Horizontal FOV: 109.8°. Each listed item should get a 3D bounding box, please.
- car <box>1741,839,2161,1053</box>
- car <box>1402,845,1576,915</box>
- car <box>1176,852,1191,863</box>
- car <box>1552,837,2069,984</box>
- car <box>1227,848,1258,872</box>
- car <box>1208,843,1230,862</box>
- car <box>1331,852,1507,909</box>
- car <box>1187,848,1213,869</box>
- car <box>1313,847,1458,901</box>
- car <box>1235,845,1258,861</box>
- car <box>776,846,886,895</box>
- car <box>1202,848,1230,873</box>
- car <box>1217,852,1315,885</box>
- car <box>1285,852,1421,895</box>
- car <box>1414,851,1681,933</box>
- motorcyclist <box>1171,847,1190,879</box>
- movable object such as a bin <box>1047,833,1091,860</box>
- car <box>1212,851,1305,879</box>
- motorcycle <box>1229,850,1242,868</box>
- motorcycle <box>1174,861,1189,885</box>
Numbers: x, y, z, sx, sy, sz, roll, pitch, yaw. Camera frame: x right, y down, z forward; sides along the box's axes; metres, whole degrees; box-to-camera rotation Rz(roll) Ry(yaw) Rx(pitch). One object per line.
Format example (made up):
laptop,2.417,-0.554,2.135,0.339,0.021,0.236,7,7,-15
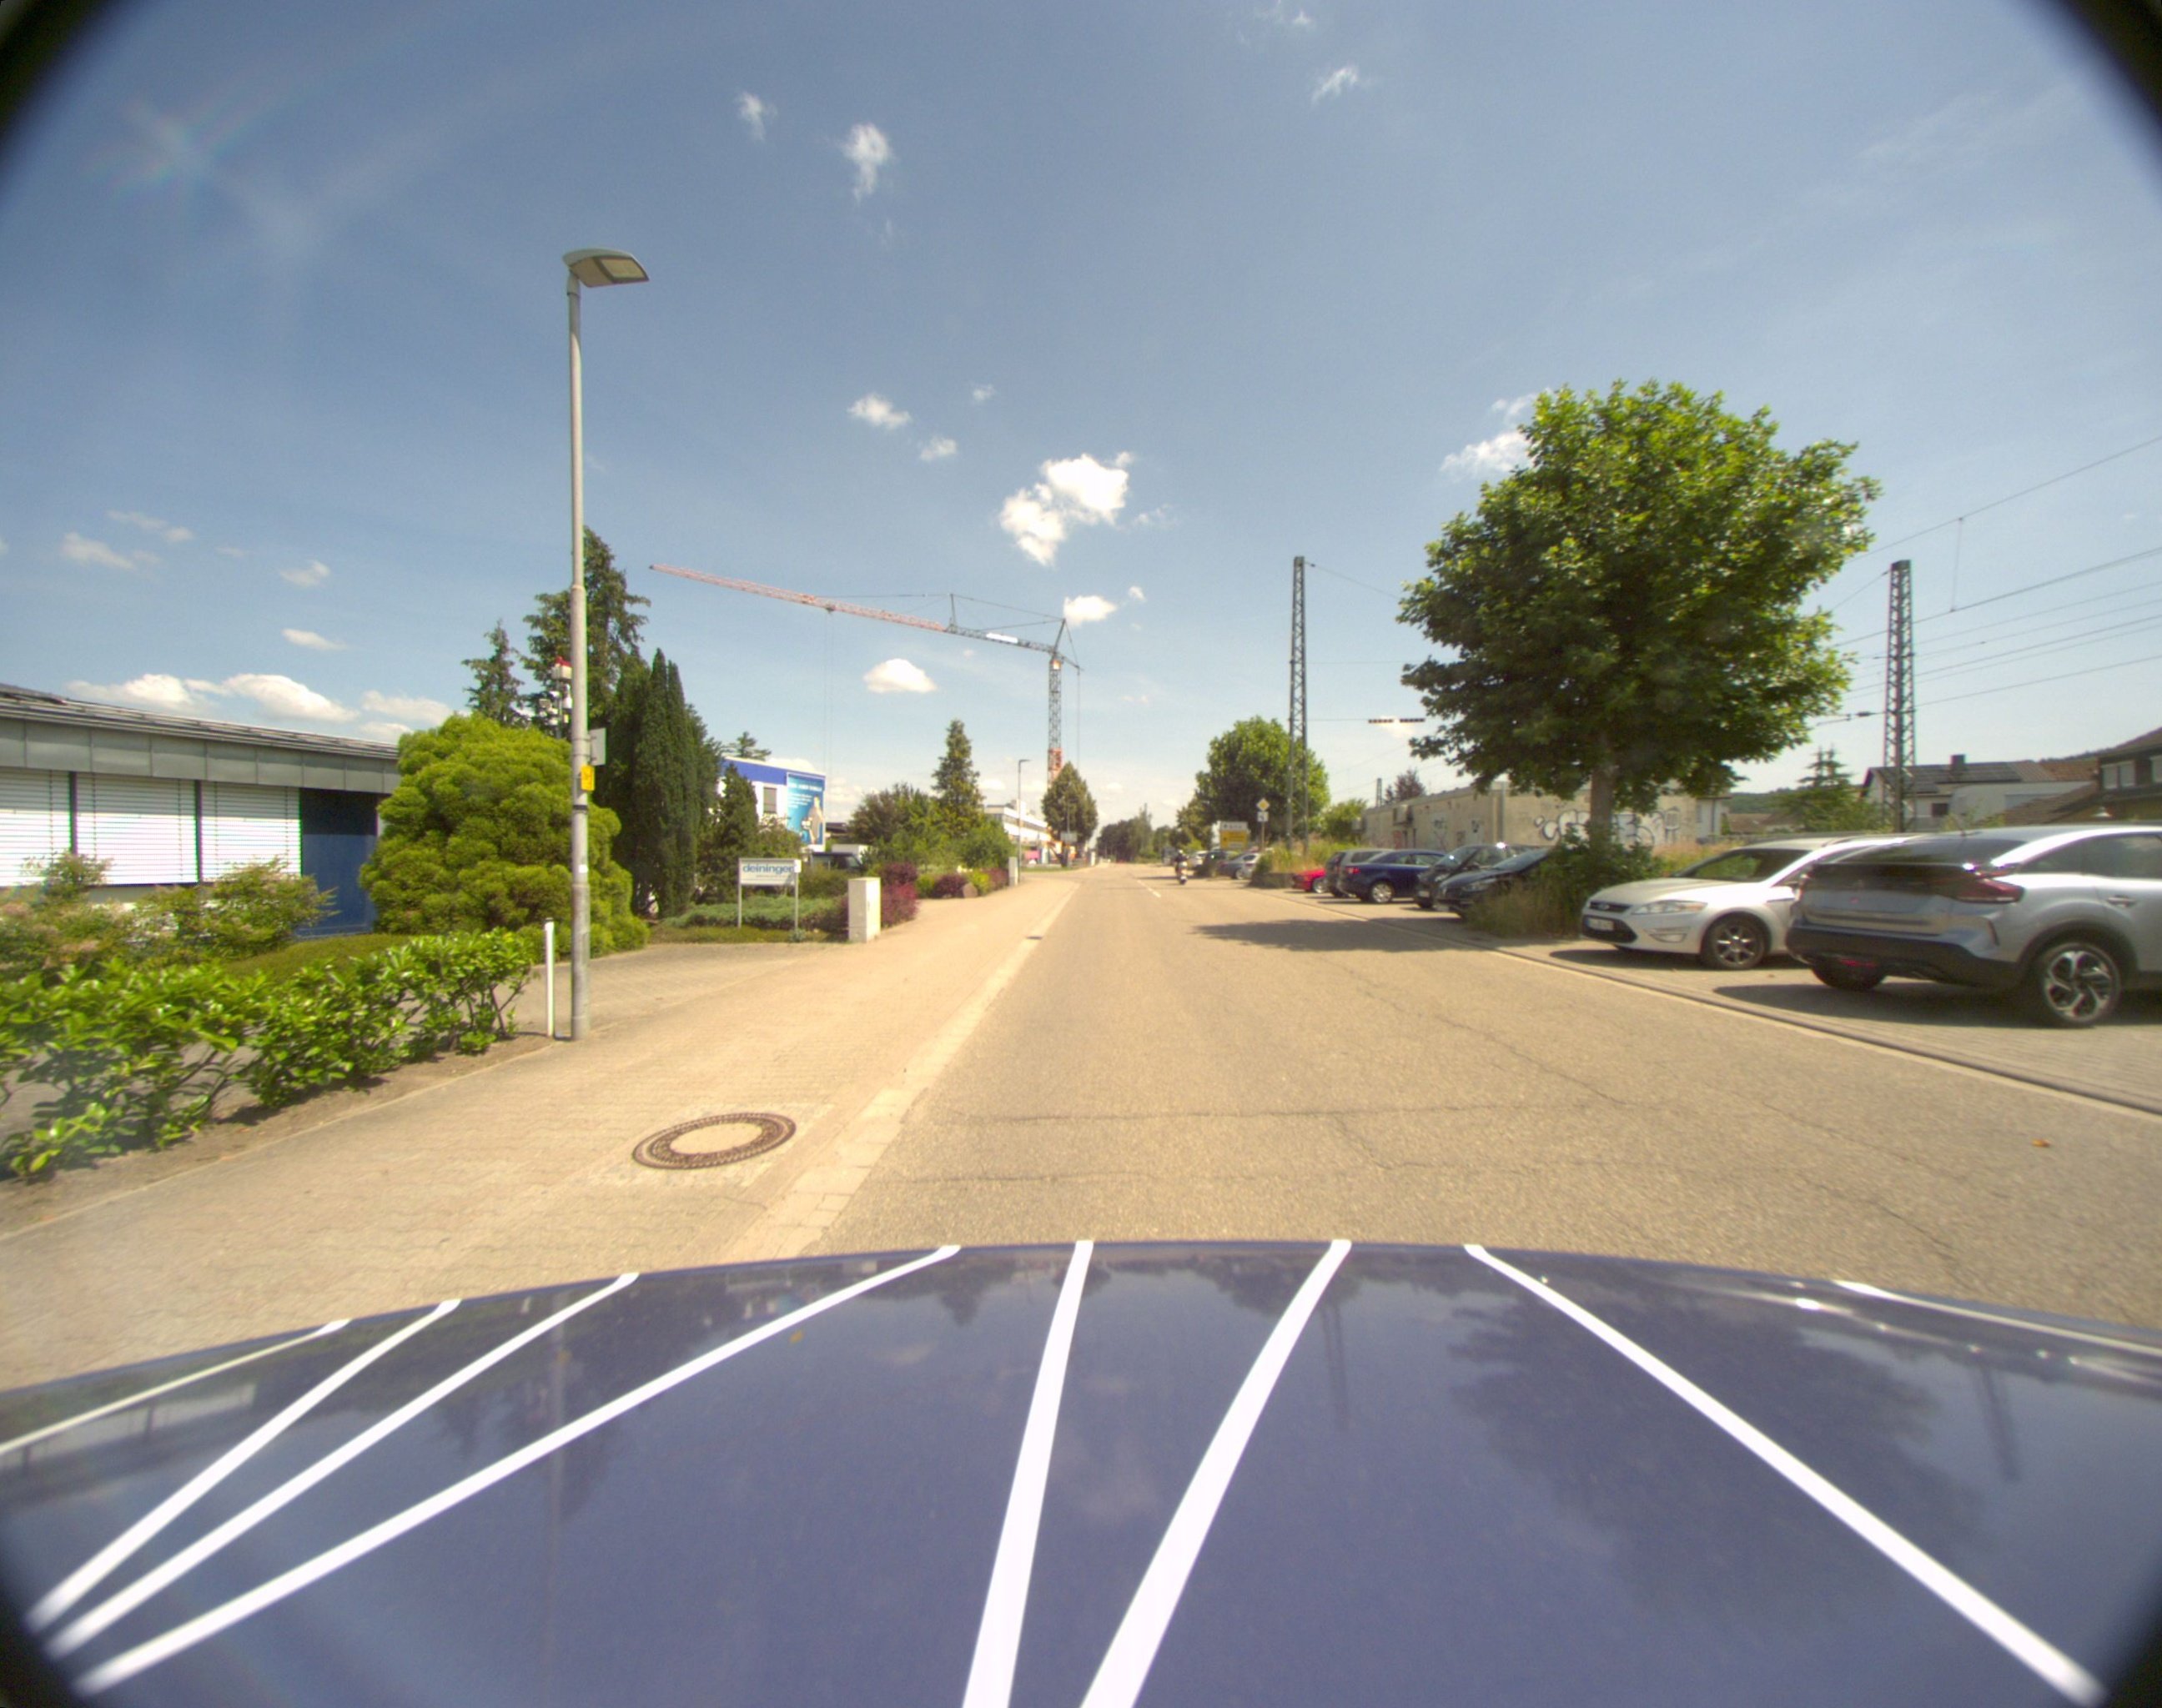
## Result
car,8.546,0.653,6.533,3.997,1.539,2.000,-1,1,0
car,9.424,0.573,17.732,3.196,1.529,1.602,0,1,0
car,12.591,0.417,93.725,1.607,1.342,4.001,0,0,4
car,8.500,0.622,9.209,4.348,1.524,1.926,-1,0,2
car,10.592,0.369,49.908,1.794,1.528,3.581,0,1,9
car,13.751,-0.132,75.981,1.952,1.822,3.837,0,1,8
car,8.925,0.673,20.334,3.953,1.442,1.787,0,1,7
car,9.381,0.313,60.162,1.807,1.555,4.263,0,1,5
car,9.104,0.580,22.939,3.675,1.439,1.684,-2,0,0
car,16.794,-0.078,77.450,1.952,1.599,4.274,0,1,8
car,-10.540,0.630,32.498,1.899,1.788,4.797,2,3,20
car,8.872,0.394,50.139,1.688,1.522,4.065,0,1,9
car,8.554,0.645,35.345,4.083,1.394,1.786,-1,1,0
car,9.312,0.670,26.245,4.082,1.360,1.674,-1,-1,3
car,8.953,0.692,14.867,4.082,1.464,1.787,0,1,3
motorcyclist,4.753,0.439,36.179,0.777,1.500,0.921,-1,1,1
movable object such as a bin,-1.520,-0.951,95.575,5.132,3.277,2.390,0,6,-14
car,9.280,0.543,39.904,4.437,1.402,1.787,0,1,0
motorcycle,12.326,0.373,60.652,0.739,1.365,3.215,0,0,7
motorcycle,4.751,0.883,36.130,0.464,1.045,1.955,-1,1,1
